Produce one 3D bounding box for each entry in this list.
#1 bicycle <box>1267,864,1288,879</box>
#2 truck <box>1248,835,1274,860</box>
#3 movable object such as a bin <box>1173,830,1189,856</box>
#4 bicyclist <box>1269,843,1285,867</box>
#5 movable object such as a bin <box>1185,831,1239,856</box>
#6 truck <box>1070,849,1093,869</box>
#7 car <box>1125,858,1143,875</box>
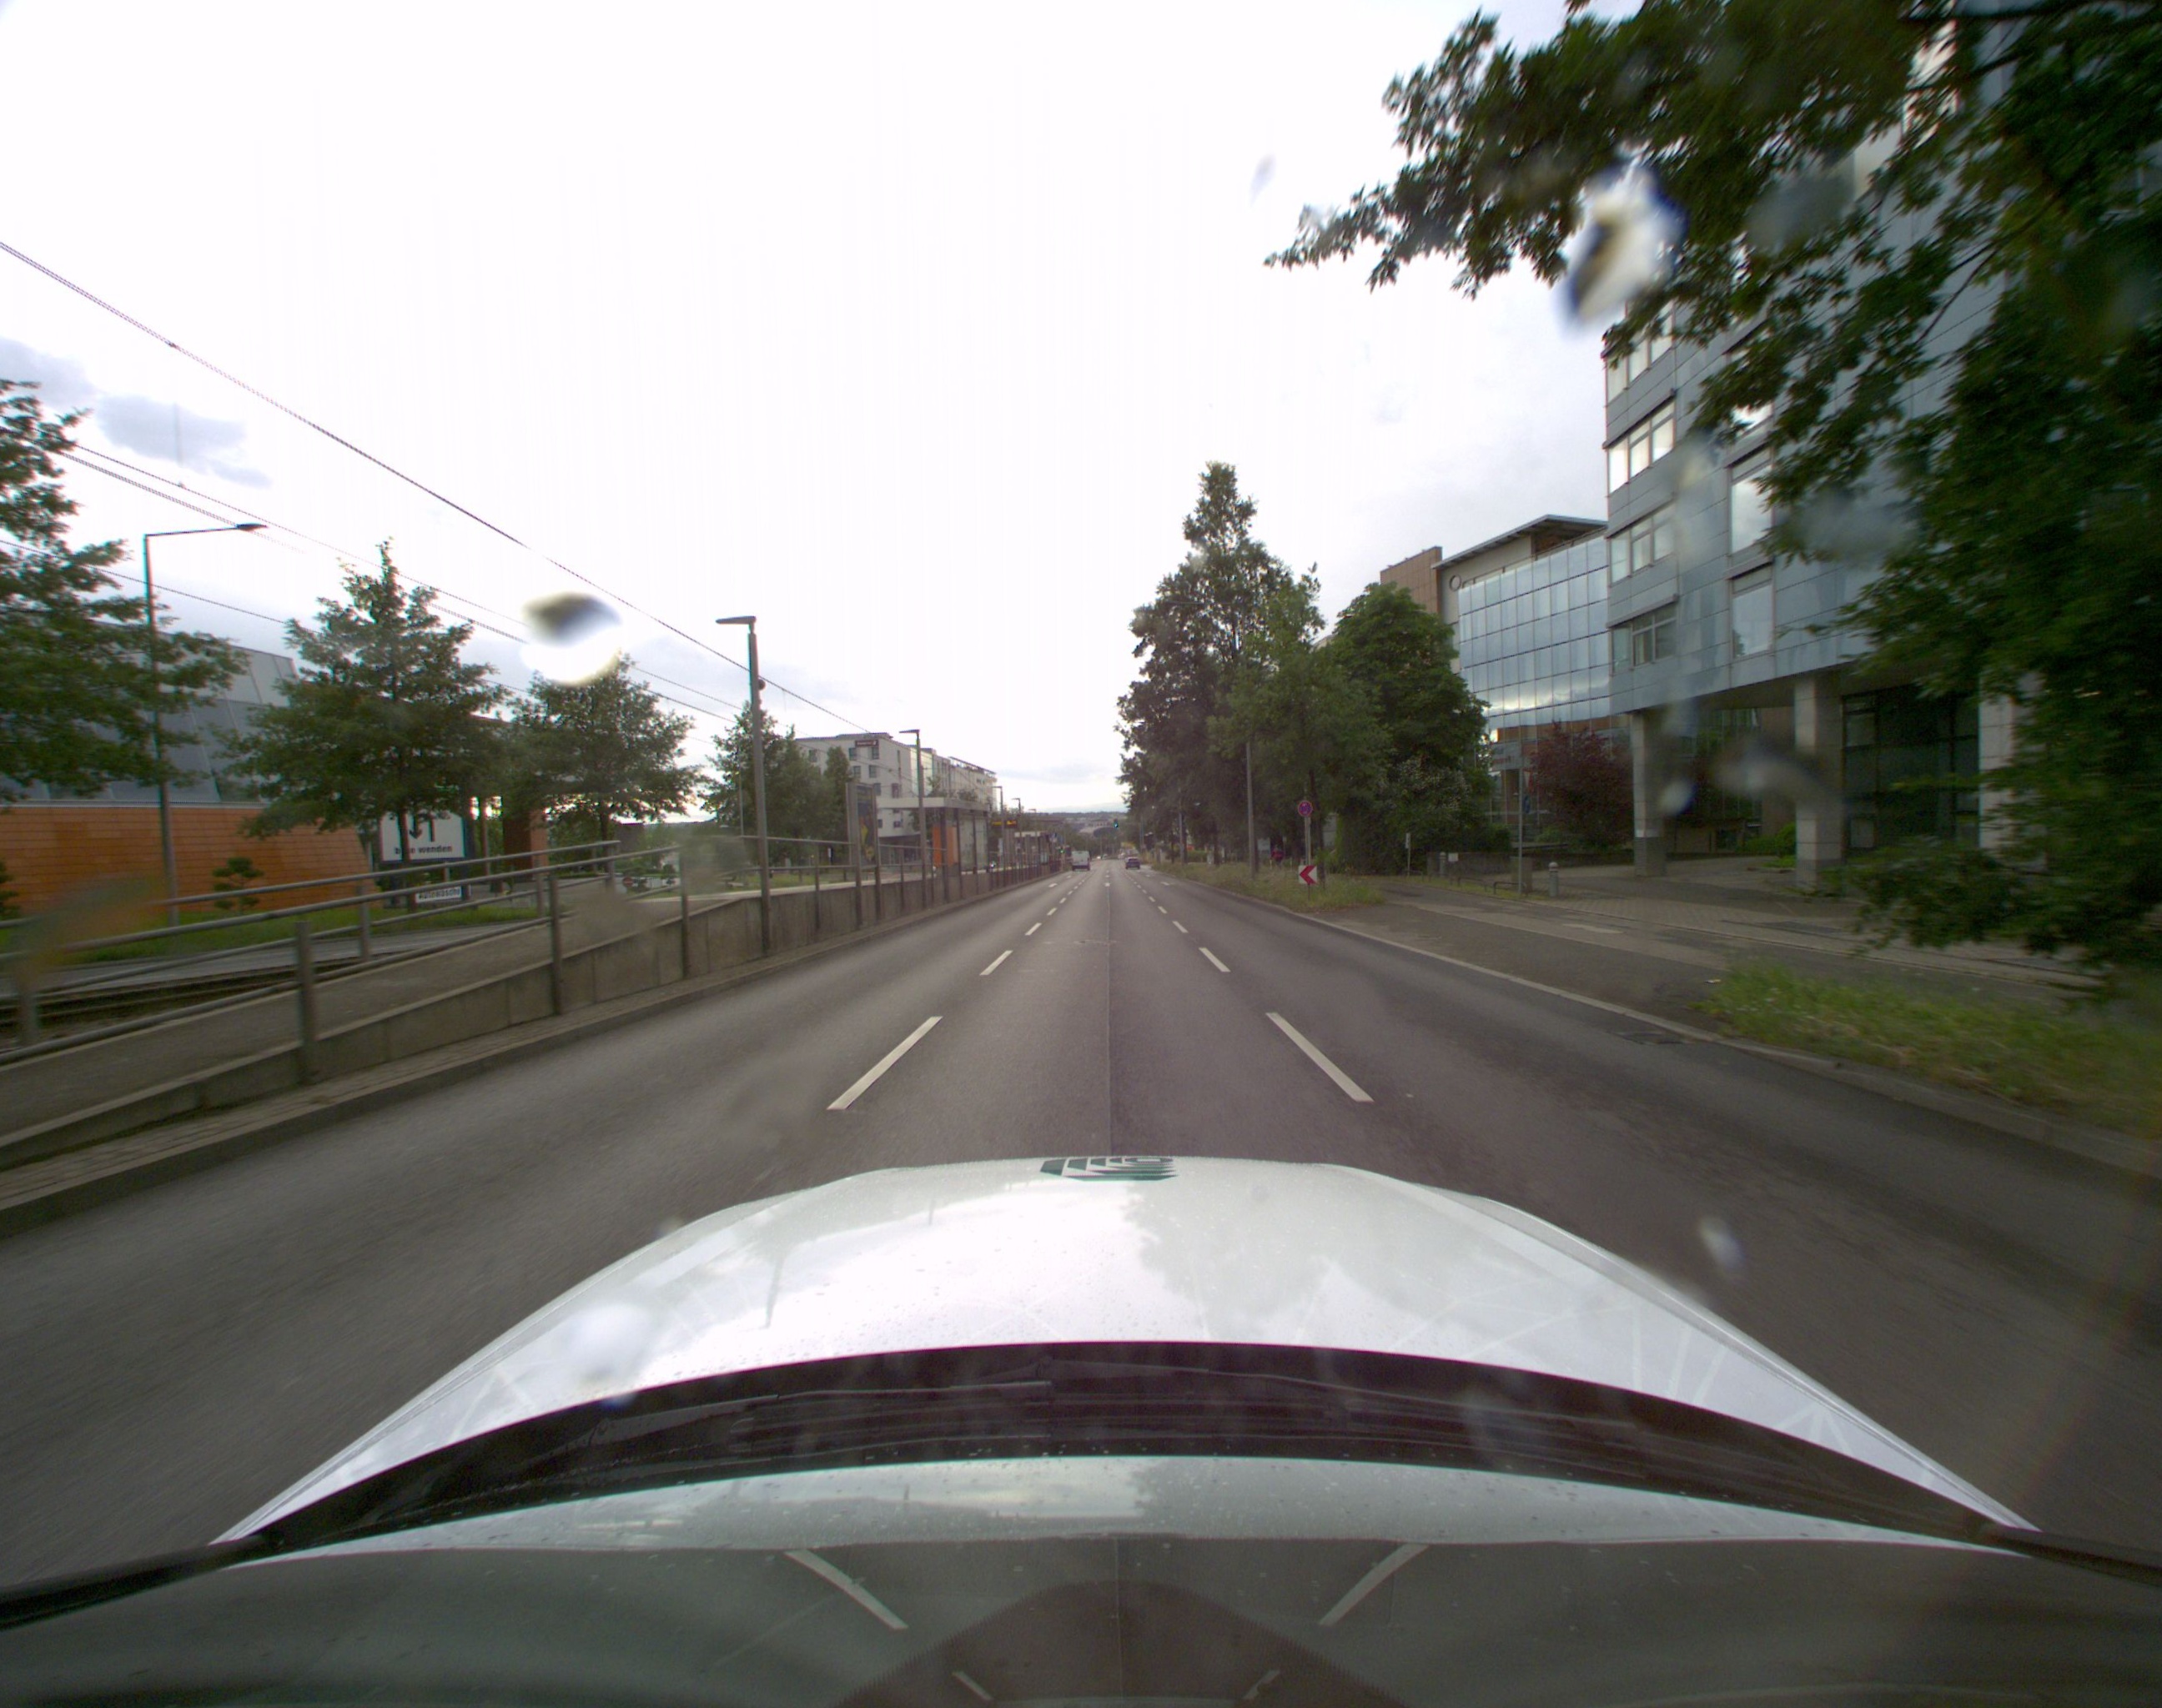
[{"bbox_3d":[10.593,0.938,44.015,0.665,0.809,2.319,0,-1,2],"label":"bicycle"},{"bbox_3d":[18.616,-0.683,84.294,1.741,2.518,3.997,0,-1,-1],"label":"truck"},{"bbox_3d":[22.141,-2.380,181.168,3.274,5.685,8.776,-1,-1,5],"label":"movable object such as a bin"},{"bbox_3d":[10.598,0.048,44.040,0.653,1.288,1.220,0,-1,2],"label":"bicyclist"},{"bbox_3d":[30.804,-2.394,192.210,12.093,5.261,3.791,-3,-1,2],"label":"movable object such as a bin"},{"bbox_3d":[0.107,0.572,95.479,2.350,2.262,5.310,0,-1,3],"label":"truck"},{"bbox_3d":[6.577,1.504,100.549,1.984,2.014,3.940,-1,-1,5],"label":"car"}]
